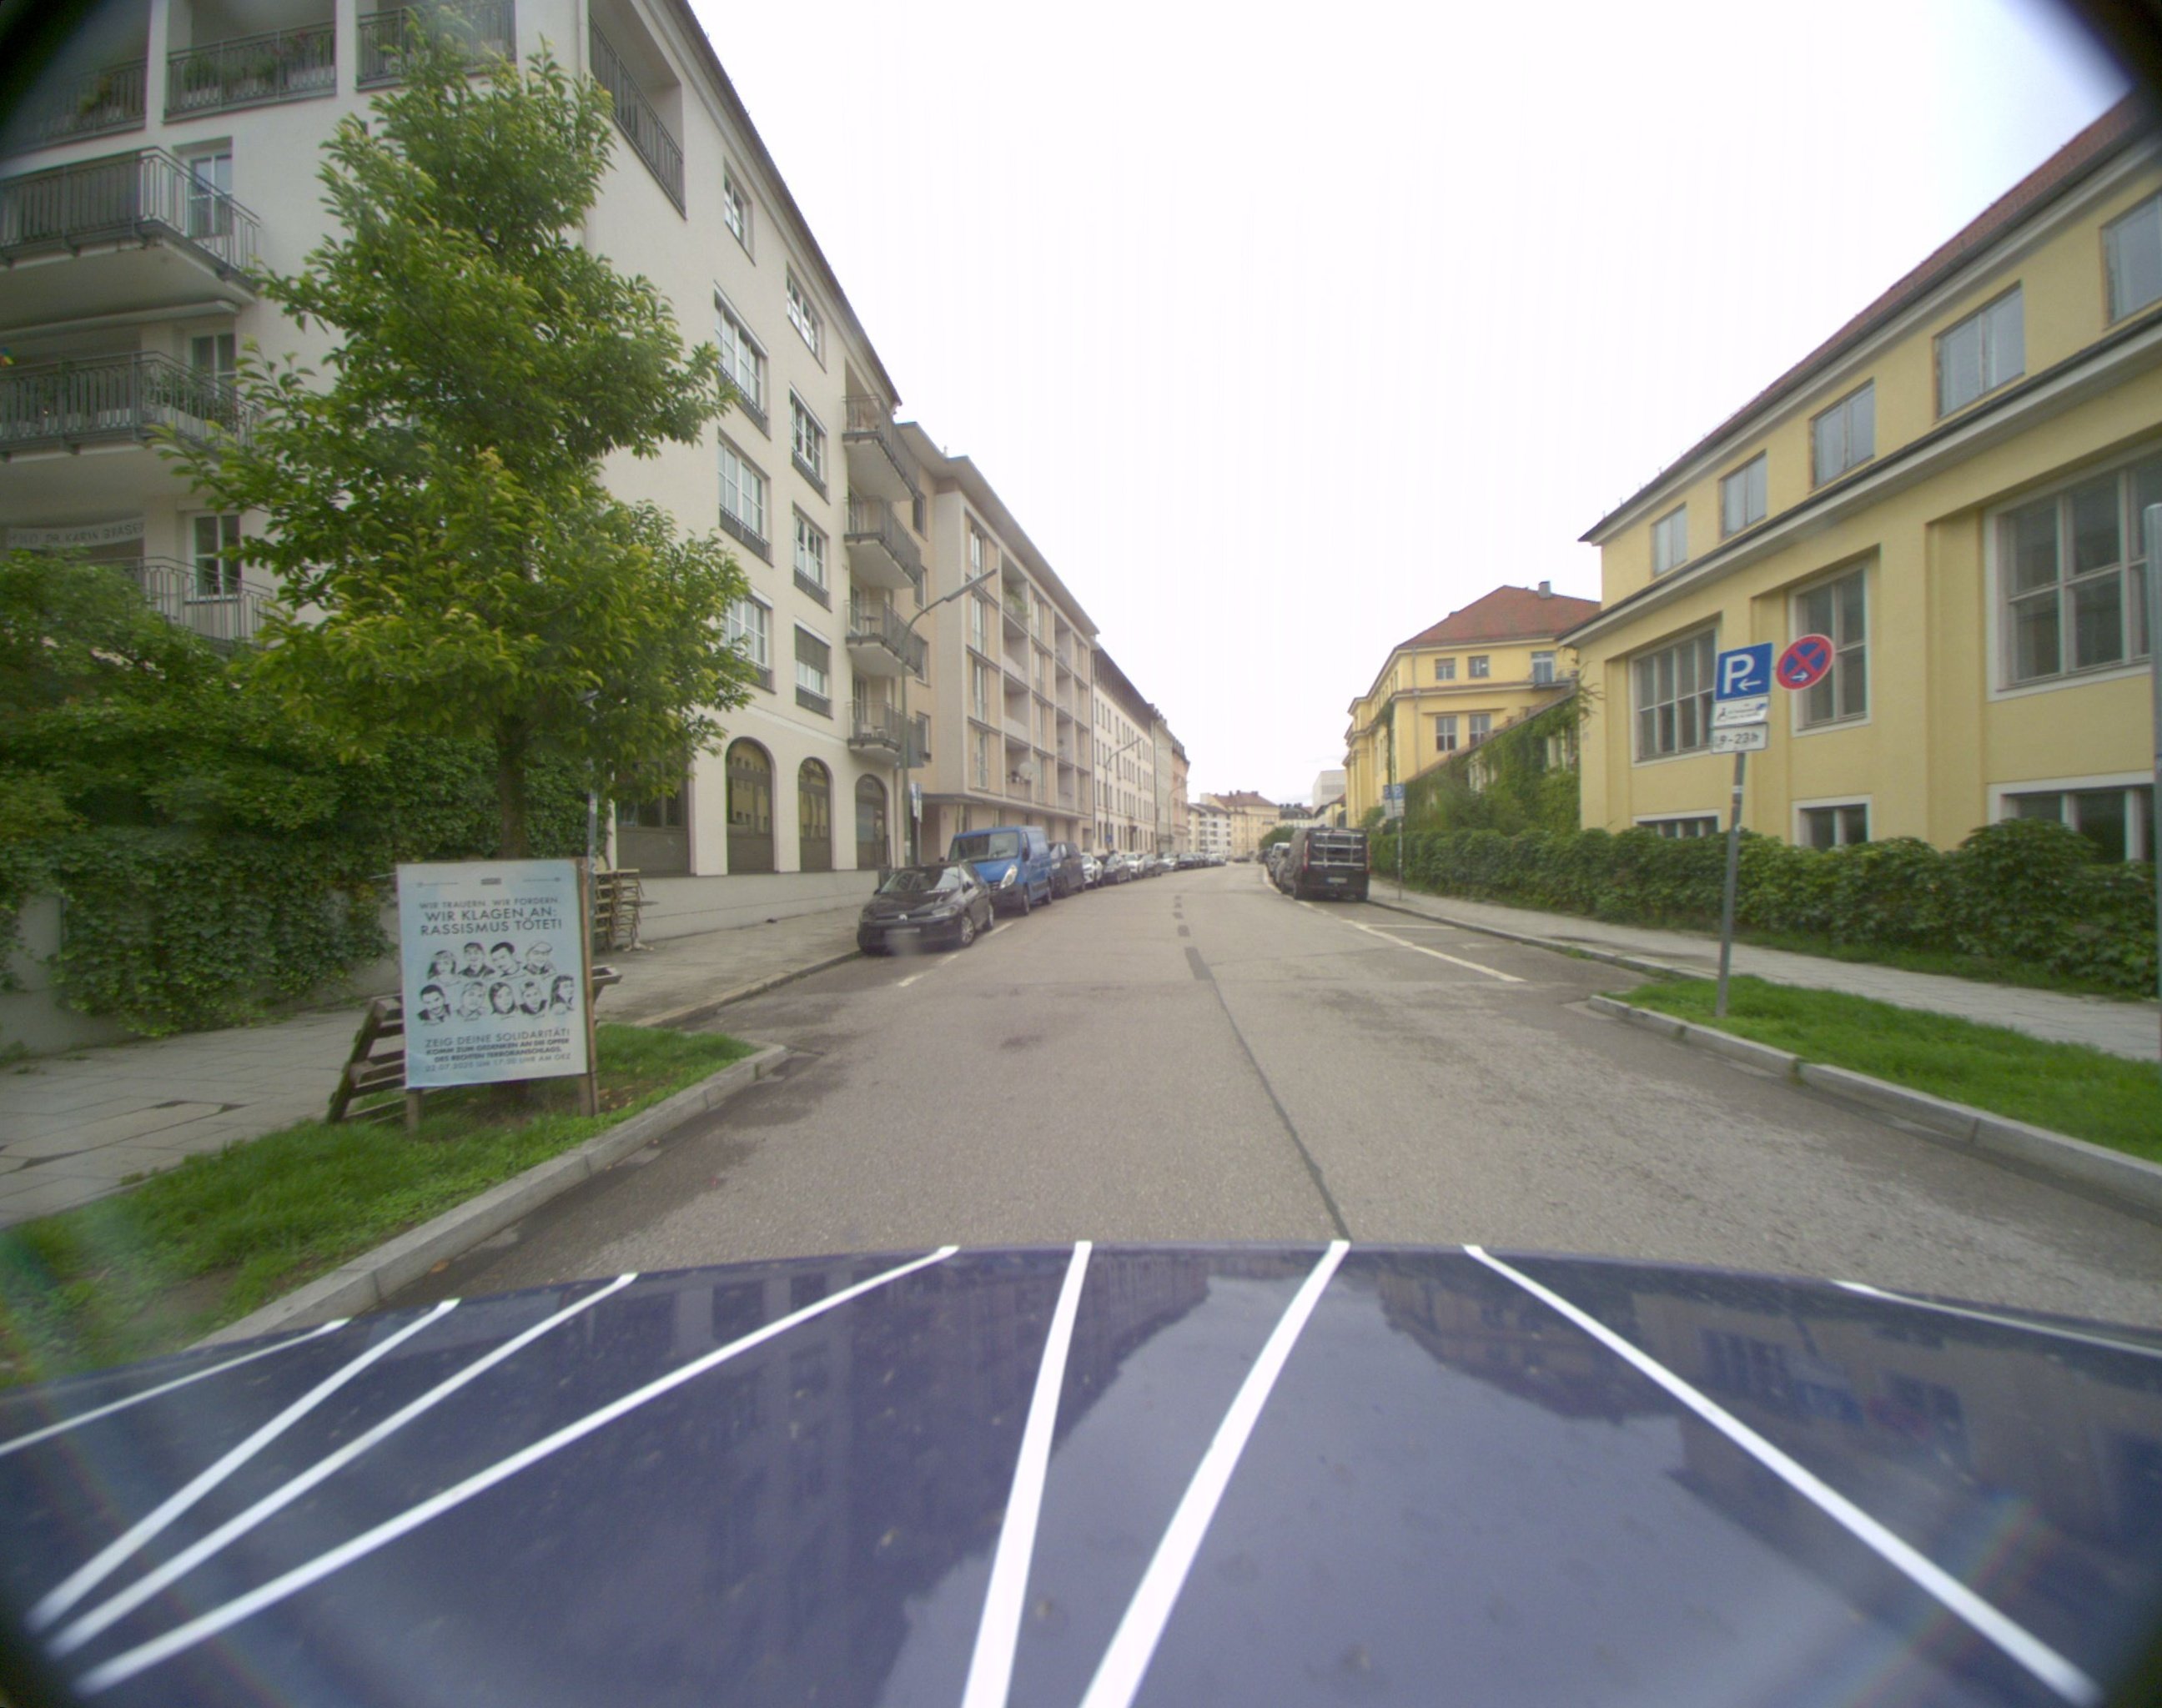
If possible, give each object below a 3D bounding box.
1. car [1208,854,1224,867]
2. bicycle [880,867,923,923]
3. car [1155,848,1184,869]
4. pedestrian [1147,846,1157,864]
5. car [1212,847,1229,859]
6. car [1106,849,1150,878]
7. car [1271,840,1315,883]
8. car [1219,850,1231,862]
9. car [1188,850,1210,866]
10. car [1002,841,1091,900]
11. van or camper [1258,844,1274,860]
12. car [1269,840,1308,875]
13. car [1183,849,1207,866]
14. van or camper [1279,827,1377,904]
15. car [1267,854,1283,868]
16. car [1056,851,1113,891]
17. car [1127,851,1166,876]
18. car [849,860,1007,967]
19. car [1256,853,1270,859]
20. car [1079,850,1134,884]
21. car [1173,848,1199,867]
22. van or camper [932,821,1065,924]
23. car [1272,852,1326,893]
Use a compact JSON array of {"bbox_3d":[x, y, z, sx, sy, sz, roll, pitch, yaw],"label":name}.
[{"bbox_3d":[15.899,0.758,89.600,1.695,1.574,4.087,0,0,12],"label":"car"},{"bbox_3d":[-4.086,0.908,17.388,0.666,1.181,1.588,-1,1,-4],"label":"bicycle"},{"bbox_3d":[6.695,0.320,57.071,1.674,1.526,3.885,-1,0,14],"label":"car"},{"bbox_3d":[6.429,0.098,69.075,0.735,1.616,0.829,-1,1,14],"label":"pedestrian"},{"bbox_3d":[17.550,-0.177,95.582,1.694,1.443,4.087,-1,0,16],"label":"car"},{"bbox_3d":[2.631,0.477,41.442,1.742,1.490,4.223,-1,0,12],"label":"car"},{"bbox_3d":[9.155,0.303,33.113,1.622,1.720,4.429,0,0,13],"label":"car"},{"bbox_3d":[21.205,0.304,111.794,1.606,1.632,3.635,0,0,12],"label":"car"},{"bbox_3d":[11.874,0.351,76.009,1.859,1.535,4.820,-1,0,12],"label":"car"},{"bbox_3d":[-1.036,0.500,25.819,1.967,1.806,4.939,-1,0,10],"label":"car"},{"bbox_3d":[34.008,-0.383,139.476,2.139,2.791,5.575,0,0,6],"label":"van or camper"},{"bbox_3d":[11.722,0.212,43.010,1.996,1.864,4.763,0,0,15],"label":"car"},{"bbox_3d":[10.729,0.293,71.268,1.859,1.535,4.160,-1,0,12],"label":"car"},{"bbox_3d":[7.177,0.307,22.580,1.964,2.053,4.756,0,0,8],"label":"van or camper"},{"bbox_3d":[22.036,0.752,86.249,1.682,1.487,3.989,1,1,13],"label":"car"},{"bbox_3d":[0.205,0.648,31.016,1.742,1.528,4.276,0,0,8],"label":"car"},{"bbox_3d":[4.028,0.549,46.103,1.799,1.412,4.486,-1,0,12],"label":"car"},{"bbox_3d":[-2.537,0.921,13.573,1.707,1.509,3.959,-4,0,4],"label":"car"},{"bbox_3d":[54.881,0.548,229.047,3.992,1.849,2.002,0,0,14],"label":"car"},{"bbox_3d":[1.278,0.570,36.286,1.741,1.490,4.499,-1,1,13],"label":"car"},{"bbox_3d":[9.203,0.280,66.339,1.859,1.535,4.820,-1,0,12],"label":"car"},{"bbox_3d":[-1.965,0.445,20.099,2.064,2.218,5.442,-4,-1,8],"label":"van or camper"},{"bbox_3d":[7.955,0.647,27.994,1.622,1.370,4.075,-1,0,12],"label":"car"}]
